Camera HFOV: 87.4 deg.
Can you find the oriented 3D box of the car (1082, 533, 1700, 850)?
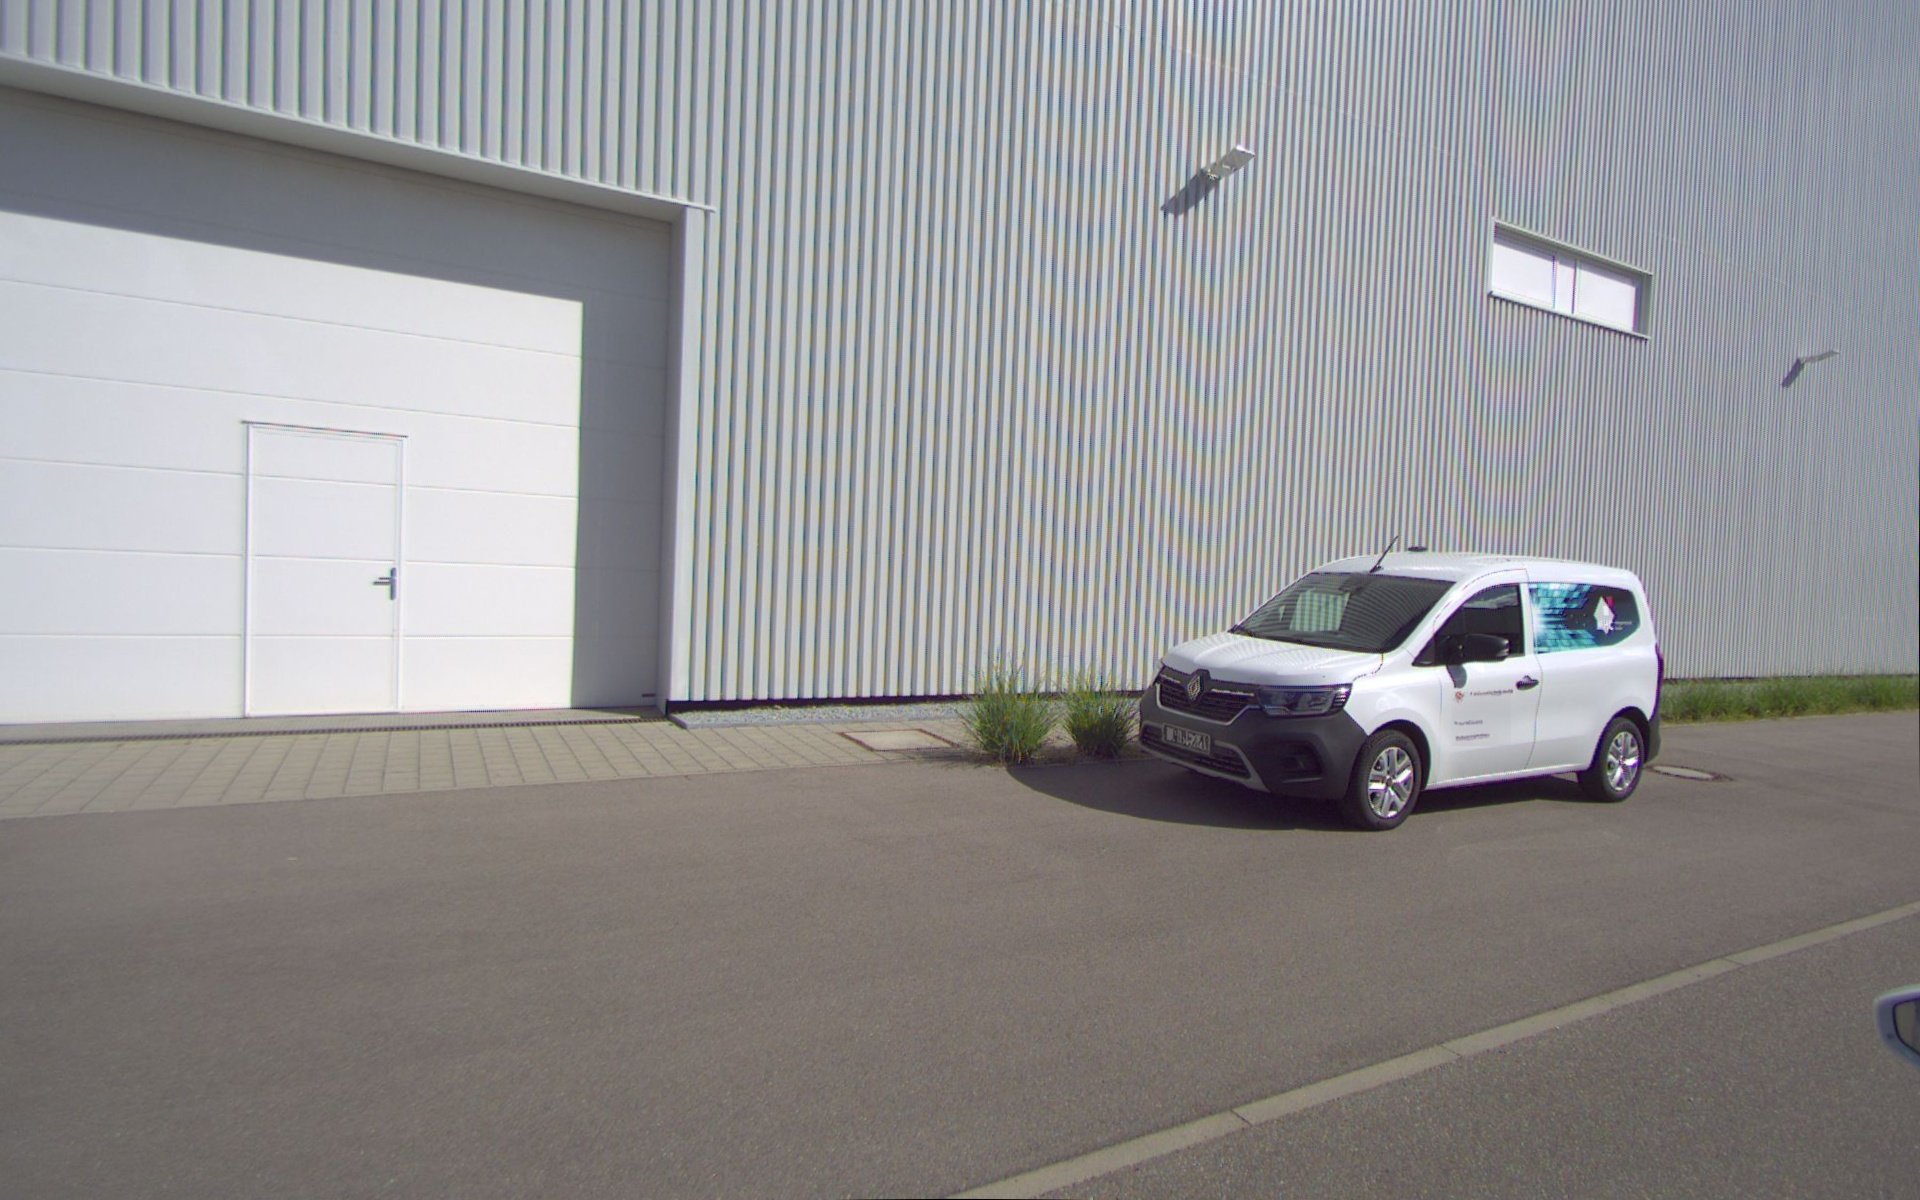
[{"bbox_3d":[3.375,0.525,7.693,4.542,1.814,1.919,2,3,-29],"label":"car"}]
